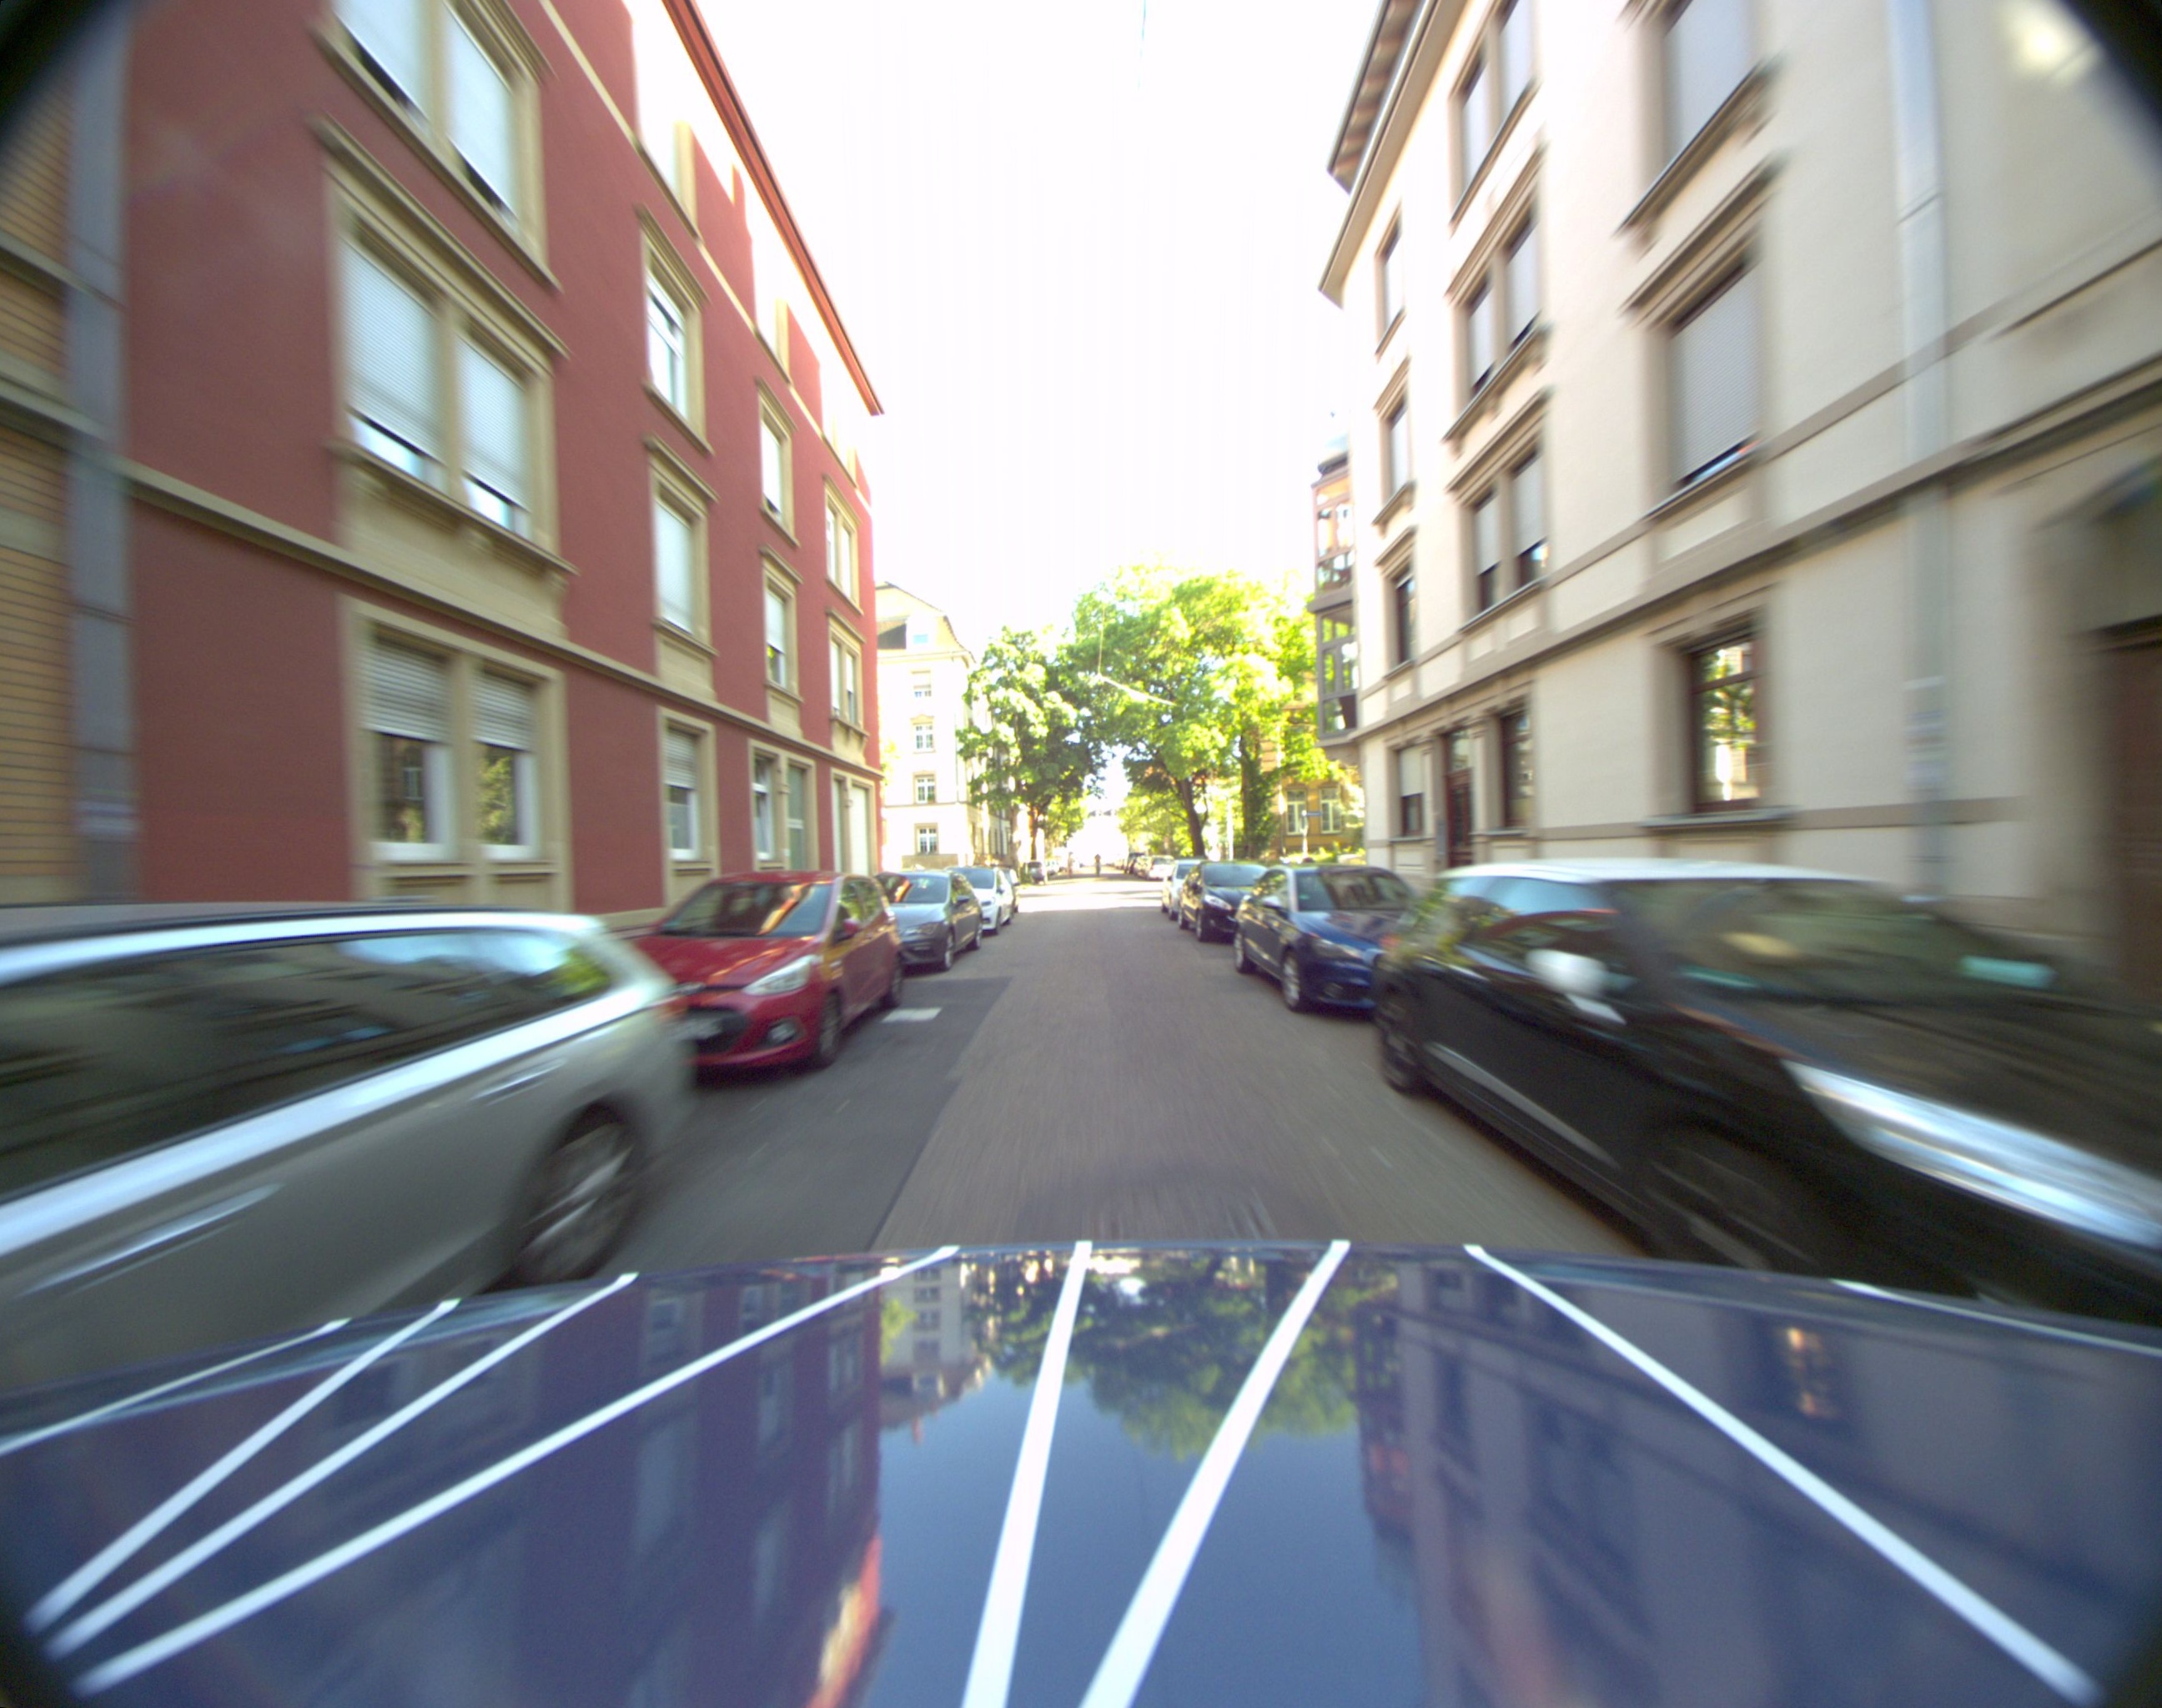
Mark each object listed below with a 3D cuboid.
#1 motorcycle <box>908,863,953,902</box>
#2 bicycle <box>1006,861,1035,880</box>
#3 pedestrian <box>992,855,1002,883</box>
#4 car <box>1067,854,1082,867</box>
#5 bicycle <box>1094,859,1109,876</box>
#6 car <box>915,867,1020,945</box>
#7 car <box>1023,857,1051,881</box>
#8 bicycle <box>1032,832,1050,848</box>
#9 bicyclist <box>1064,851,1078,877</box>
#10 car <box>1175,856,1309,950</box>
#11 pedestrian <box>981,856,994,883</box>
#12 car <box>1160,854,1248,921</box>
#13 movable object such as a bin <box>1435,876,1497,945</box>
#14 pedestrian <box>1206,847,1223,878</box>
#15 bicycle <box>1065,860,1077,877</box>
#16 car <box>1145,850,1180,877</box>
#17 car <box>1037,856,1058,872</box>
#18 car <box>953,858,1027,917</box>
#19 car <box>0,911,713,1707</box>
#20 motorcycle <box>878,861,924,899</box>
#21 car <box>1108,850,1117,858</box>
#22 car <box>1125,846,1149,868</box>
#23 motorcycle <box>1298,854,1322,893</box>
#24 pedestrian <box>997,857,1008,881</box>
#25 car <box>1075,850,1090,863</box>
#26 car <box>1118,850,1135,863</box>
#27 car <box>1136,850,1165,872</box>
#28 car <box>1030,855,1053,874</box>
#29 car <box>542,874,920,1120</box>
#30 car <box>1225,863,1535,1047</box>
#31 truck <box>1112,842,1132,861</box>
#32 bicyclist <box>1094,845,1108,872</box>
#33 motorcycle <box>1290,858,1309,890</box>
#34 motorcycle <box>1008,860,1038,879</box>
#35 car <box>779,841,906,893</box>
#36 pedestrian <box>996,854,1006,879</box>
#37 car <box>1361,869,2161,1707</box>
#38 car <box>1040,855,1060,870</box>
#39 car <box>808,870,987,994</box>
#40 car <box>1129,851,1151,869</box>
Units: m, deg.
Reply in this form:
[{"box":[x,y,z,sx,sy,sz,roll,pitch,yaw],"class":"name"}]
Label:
[{"box":[-6.071,1.122,30.782,0.873,1.516,2.625,-2,0,9],"class":"motorcycle"},{"box":[-3.784,1.047,47.448,1.795,1.155,0.433,0,1,17],"class":"bicycle"},{"box":[-5.311,0.949,47.898,0.520,1.708,0.516,-2,1,-1],"class":"pedestrian"},{"box":[-0.781,0.781,90.893,1.654,1.449,4.000,-2,0,1],"class":"car"},{"box":[1.477,0.969,55.056,0.985,1.136,2.547,-2,0,1],"class":"bicycle"},{"box":[-2.482,1.089,17.493,1.709,1.454,3.970,-2,0,1],"class":"car"},{"box":[-3.023,1.027,52.453,1.685,1.531,4.134,-1,0,0],"class":"car"},{"box":[-3.330,-1.157,62.776,1.414,1.188,0.336,-3,1,-2],"class":"bicycle"},{"box":[-0.725,0.726,54.779,0.934,1.809,1.078,-2,1,1],"class":"bicyclist"},{"box":[2.889,0.811,14.410,1.785,1.474,3.743,-2,0,2],"class":"car"},{"box":[-5.924,0.990,48.152,0.624,1.675,0.818,-2,1,0],"class":"pedestrian"},{"box":[3.035,0.766,19.482,1.785,1.474,3.933,-2,0,3],"class":"car"},{"box":[5.776,0.839,11.414,0.623,0.950,0.511,-4,1,1],"class":"movable object such as a bin"},{"box":[7.600,0.474,43.311,0.804,1.736,1.006,-2,1,1],"class":"pedestrian"},{"box":[-0.713,1.053,54.840,0.810,1.136,2.547,-2,0,1],"class":"bicycle"},{"box":[4.871,0.545,45.939,1.710,1.549,3.952,1,1,1],"class":"car"},{"box":[-3.187,0.929,72.402,1.651,1.433,4.000,-2,0,1],"class":"car"},{"box":[-2.556,0.908,22.122,1.672,1.474,3.706,-2,0,0],"class":"car"},{"box":[-2.670,1.030,1.322,1.766,1.475,4.401,-2,0,2],"class":"car"},{"box":[-7.294,1.036,30.905,0.870,1.396,2.544,-2,1,9],"class":"motorcycle"},{"box":[6.086,0.000,146.379,1.597,1.557,4.000,-2,0,0],"class":"car"},{"box":[5.265,0.250,71.766,1.998,1.946,5.042,0,0,1],"class":"car"},{"box":[7.823,0.648,25.952,0.612,1.190,2.046,-2,1,21],"class":"motorcycle"},{"box":[-5.961,1.131,57.889,0.706,1.834,0.840,-2,1,-5],"class":"pedestrian"},{"box":[0.239,0.411,121.270,2.146,2.002,4.863,-2,0,1],"class":"car"},{"box":[5.542,0.284,92.596,1.755,1.464,4.000,-3,0,1],"class":"car"},{"box":[5.095,0.501,56.090,1.793,1.524,4.000,1,0,0],"class":"car"},{"box":[-3.421,0.908,66.629,1.639,1.523,4.000,-2,0,1],"class":"car"},{"box":[-2.740,0.999,7.046,1.663,1.471,4.024,-2,0,-1],"class":"car"},{"box":[2.830,0.859,8.147,1.786,1.395,3.742,-2,0,0],"class":"car"},{"box":[5.930,-0.389,110.372,2.395,2.641,7.092,-2,0,-1],"class":"truck"},{"box":[1.430,0.329,55.055,0.967,1.904,1.139,-2,1,1],"class":"bicyclist"},{"box":[8.114,0.732,28.201,0.640,1.083,1.872,-2,1,16],"class":"motorcycle"},{"box":[-3.672,0.985,48.315,1.855,1.205,0.678,0,-1,-2],"class":"motorcycle"},{"box":[-12.139,0.662,38.865,5.656,2.453,2.307,-2,1,10],"class":"car"},{"box":[-6.006,0.914,57.050,0.529,1.834,0.707,-2,1,2],"class":"pedestrian"},{"box":[2.694,0.828,3.146,1.647,1.447,3.839,0,0,0],"class":"car"},{"box":[-3.265,0.906,81.442,1.824,1.521,4.000,-2,0,1],"class":"car"},{"box":[-2.663,1.064,12.018,1.681,1.494,4.069,-2,0,1],"class":"car"},{"box":[5.126,0.491,66.285,1.731,1.455,3.844,-1,0,1],"class":"car"}]
